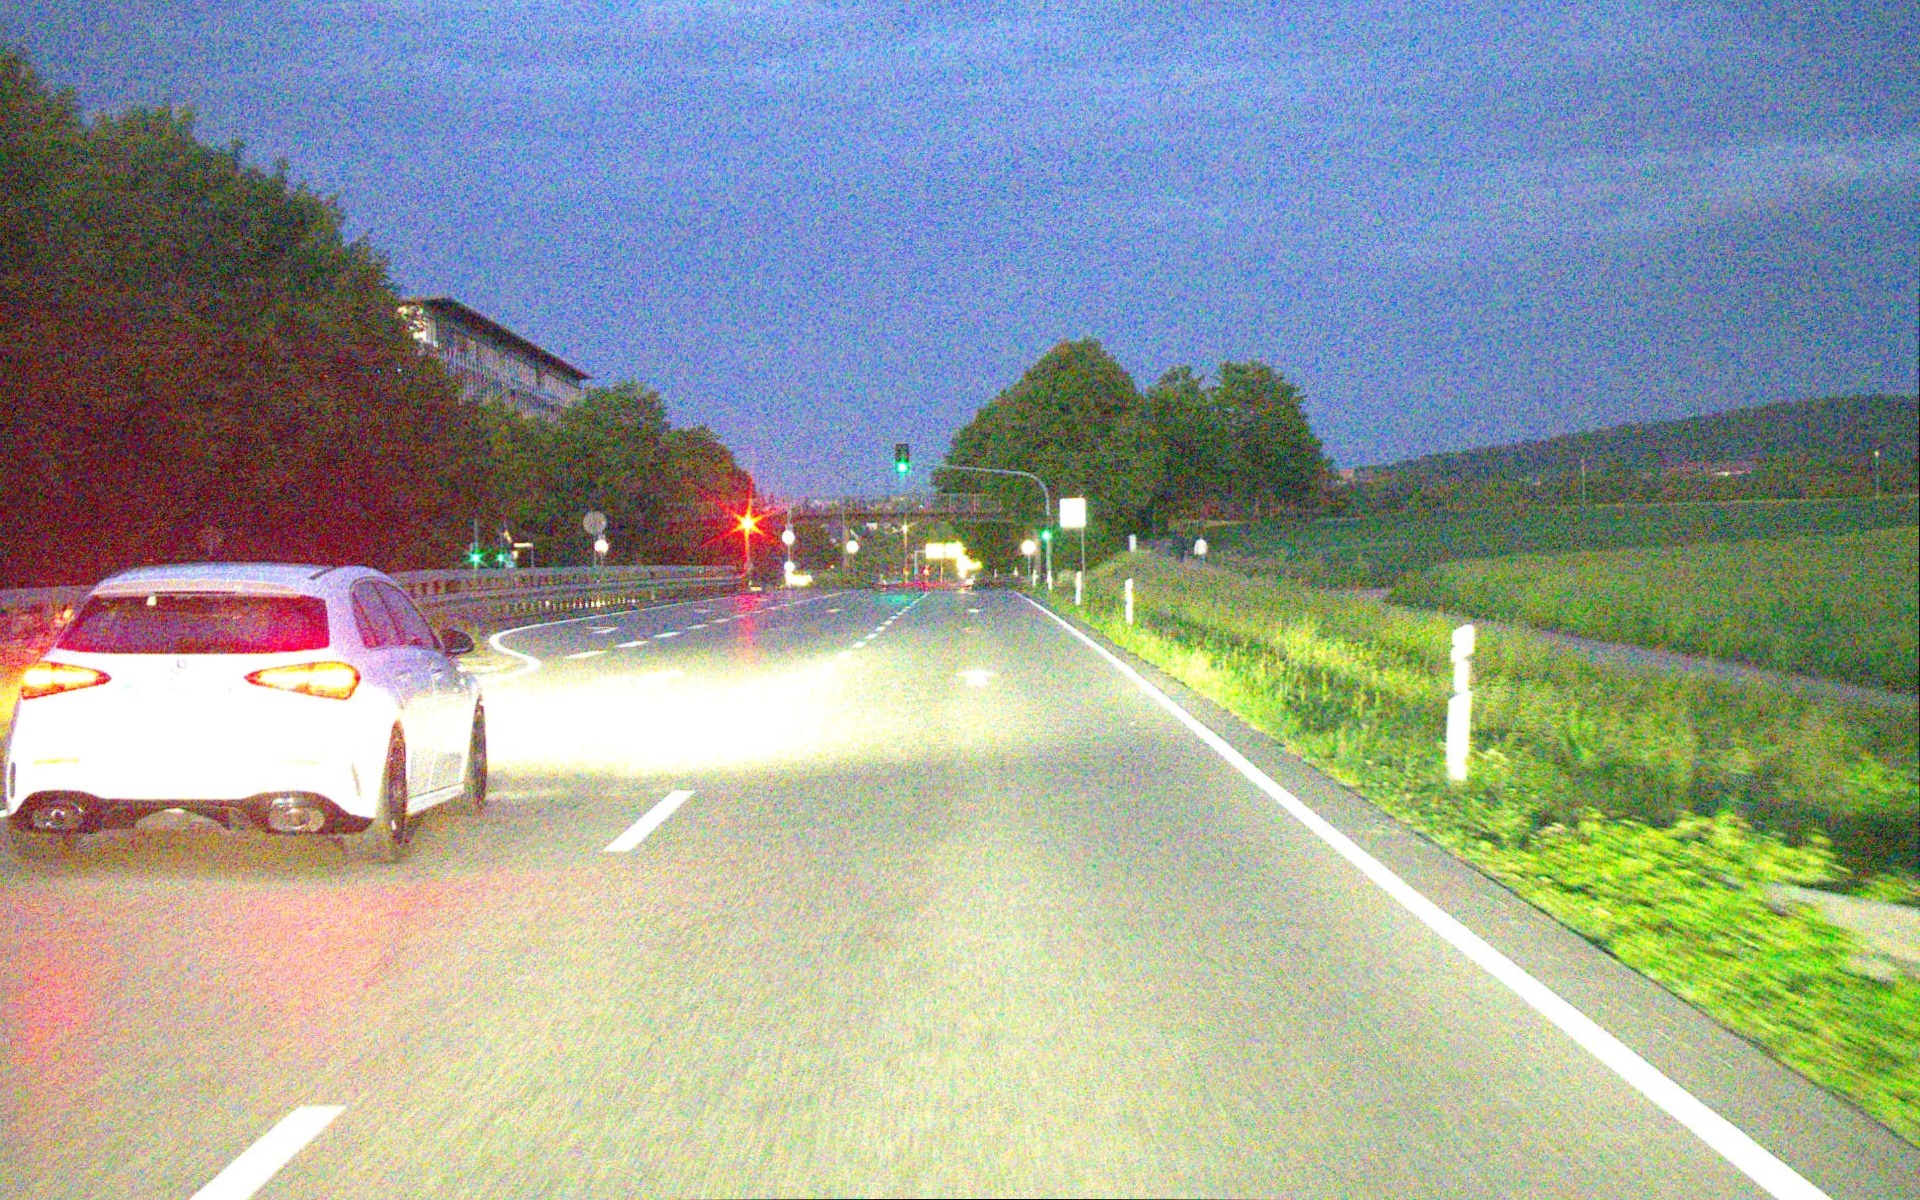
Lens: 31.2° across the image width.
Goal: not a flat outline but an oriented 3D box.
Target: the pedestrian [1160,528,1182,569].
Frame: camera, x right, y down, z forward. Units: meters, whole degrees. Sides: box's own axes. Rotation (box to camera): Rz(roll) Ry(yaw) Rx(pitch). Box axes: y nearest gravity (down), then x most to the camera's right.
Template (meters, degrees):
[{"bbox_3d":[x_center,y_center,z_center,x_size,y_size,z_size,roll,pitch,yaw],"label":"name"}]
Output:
[{"bbox_3d":[9.395,-2.299,153.049,0.922,1.787,1.106,0,1,0],"label":"pedestrian"}]

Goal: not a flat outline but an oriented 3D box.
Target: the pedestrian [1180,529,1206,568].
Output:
[{"bbox_3d":[10.366,-2.277,152.951,1.090,1.717,1.260,0,0,0],"label":"pedestrian"}]

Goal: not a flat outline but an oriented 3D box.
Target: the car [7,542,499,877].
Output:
[{"bbox_3d":[-3.461,0.451,17.631,1.642,1.485,4.580,0,1,-1],"label":"car"}]

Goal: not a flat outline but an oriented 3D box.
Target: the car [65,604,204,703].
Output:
[{"bbox_3d":[-15.633,0.985,65.273,1.669,1.752,4.000,0,1,0],"label":"car"}]
